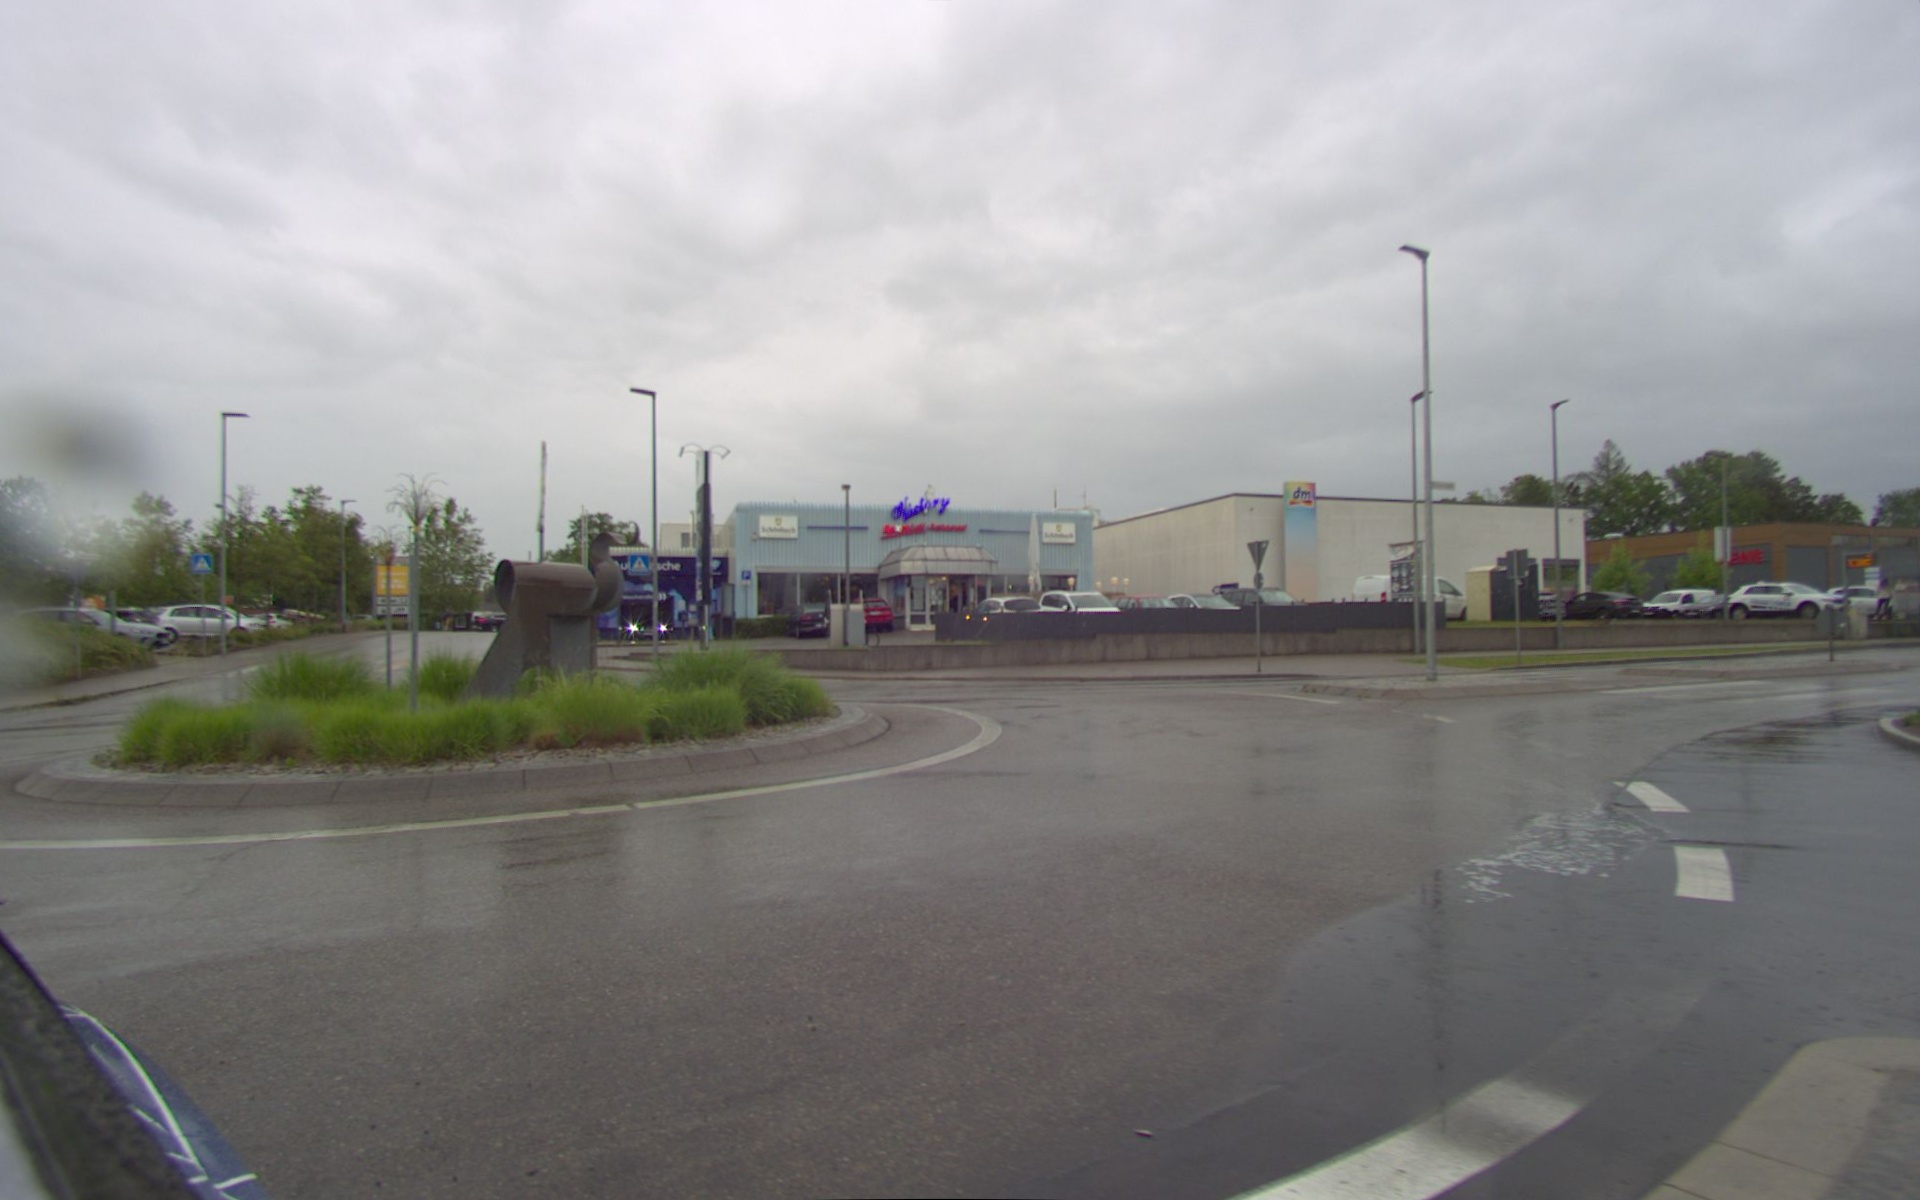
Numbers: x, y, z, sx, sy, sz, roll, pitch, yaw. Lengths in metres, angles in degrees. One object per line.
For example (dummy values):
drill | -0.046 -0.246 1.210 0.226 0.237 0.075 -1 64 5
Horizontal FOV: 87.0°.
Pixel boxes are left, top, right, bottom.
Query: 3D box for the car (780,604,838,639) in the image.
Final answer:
car | -6.558 0.909 43.704 1.856 1.305 4.012 -4 0 -16

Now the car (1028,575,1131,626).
car | 3.948 0.061 34.110 1.763 1.564 4.012 -2 -1 -20

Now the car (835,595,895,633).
car | -4.274 0.639 44.951 1.856 1.497 4.012 -4 0 -16

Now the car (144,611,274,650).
car | -31.386 1.282 42.425 3.932 1.453 2.006 -2 -2 -16

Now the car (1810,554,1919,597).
car | 37.777 -0.992 41.517 1.763 1.564 4.012 -2 -1 -20

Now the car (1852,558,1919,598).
car | 40.417 -0.950 42.507 1.763 1.564 4.012 -2 -1 -20

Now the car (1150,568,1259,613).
car | 8.399 -0.284 35.155 1.856 1.305 4.012 -4 0 -16

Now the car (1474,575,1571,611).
car | 27.748 -0.325 50.079 1.764 1.564 4.012 -2 -1 -18

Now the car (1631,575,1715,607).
car | 38.721 -0.488 54.966 3.931 1.564 1.800 -2 -1 -21

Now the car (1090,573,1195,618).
car | 6.135 -0.128 34.529 1.856 1.305 4.012 -4 0 -16

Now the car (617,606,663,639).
car | -16.385 1.170 51.981 1.889 1.541 4.010 -3 -1 -14

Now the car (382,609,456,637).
car | -35.278 1.513 66.109 3.932 1.608 2.006 -2 -2 -16

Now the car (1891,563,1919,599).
car | 42.715 -0.893 43.167 1.763 1.564 4.012 -2 -1 -20

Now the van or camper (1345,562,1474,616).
van or camper | 17.640 -0.434 39.744 4.308 1.774 1.893 -4 0 -16

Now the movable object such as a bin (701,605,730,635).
movable object such as a bin | -11.476 0.925 47.439 1.194 1.305 1.483 -4 0 -16

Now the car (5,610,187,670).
car | -27.956 1.279 32.887 4.038 1.719 2.005 -2 -2 -12

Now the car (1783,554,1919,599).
car | 35.978 -0.920 40.727 1.763 1.564 4.012 -2 -1 -20

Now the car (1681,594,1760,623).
car | 38.922 0.435 51.814 3.460 1.363 1.597 -2 -1 -21

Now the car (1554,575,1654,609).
car | 32.829 -0.384 51.714 1.764 1.564 4.012 -2 -1 -18

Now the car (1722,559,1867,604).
car | 32.878 -0.694 40.011 1.820 1.564 4.012 -2 -1 -20

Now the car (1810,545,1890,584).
car | 53.982 -2.155 61.398 3.932 2.028 2.007 -5 2 -22

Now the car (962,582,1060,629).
car | 1.574 0.216 32.761 1.856 1.305 4.012 -4 0 -16
